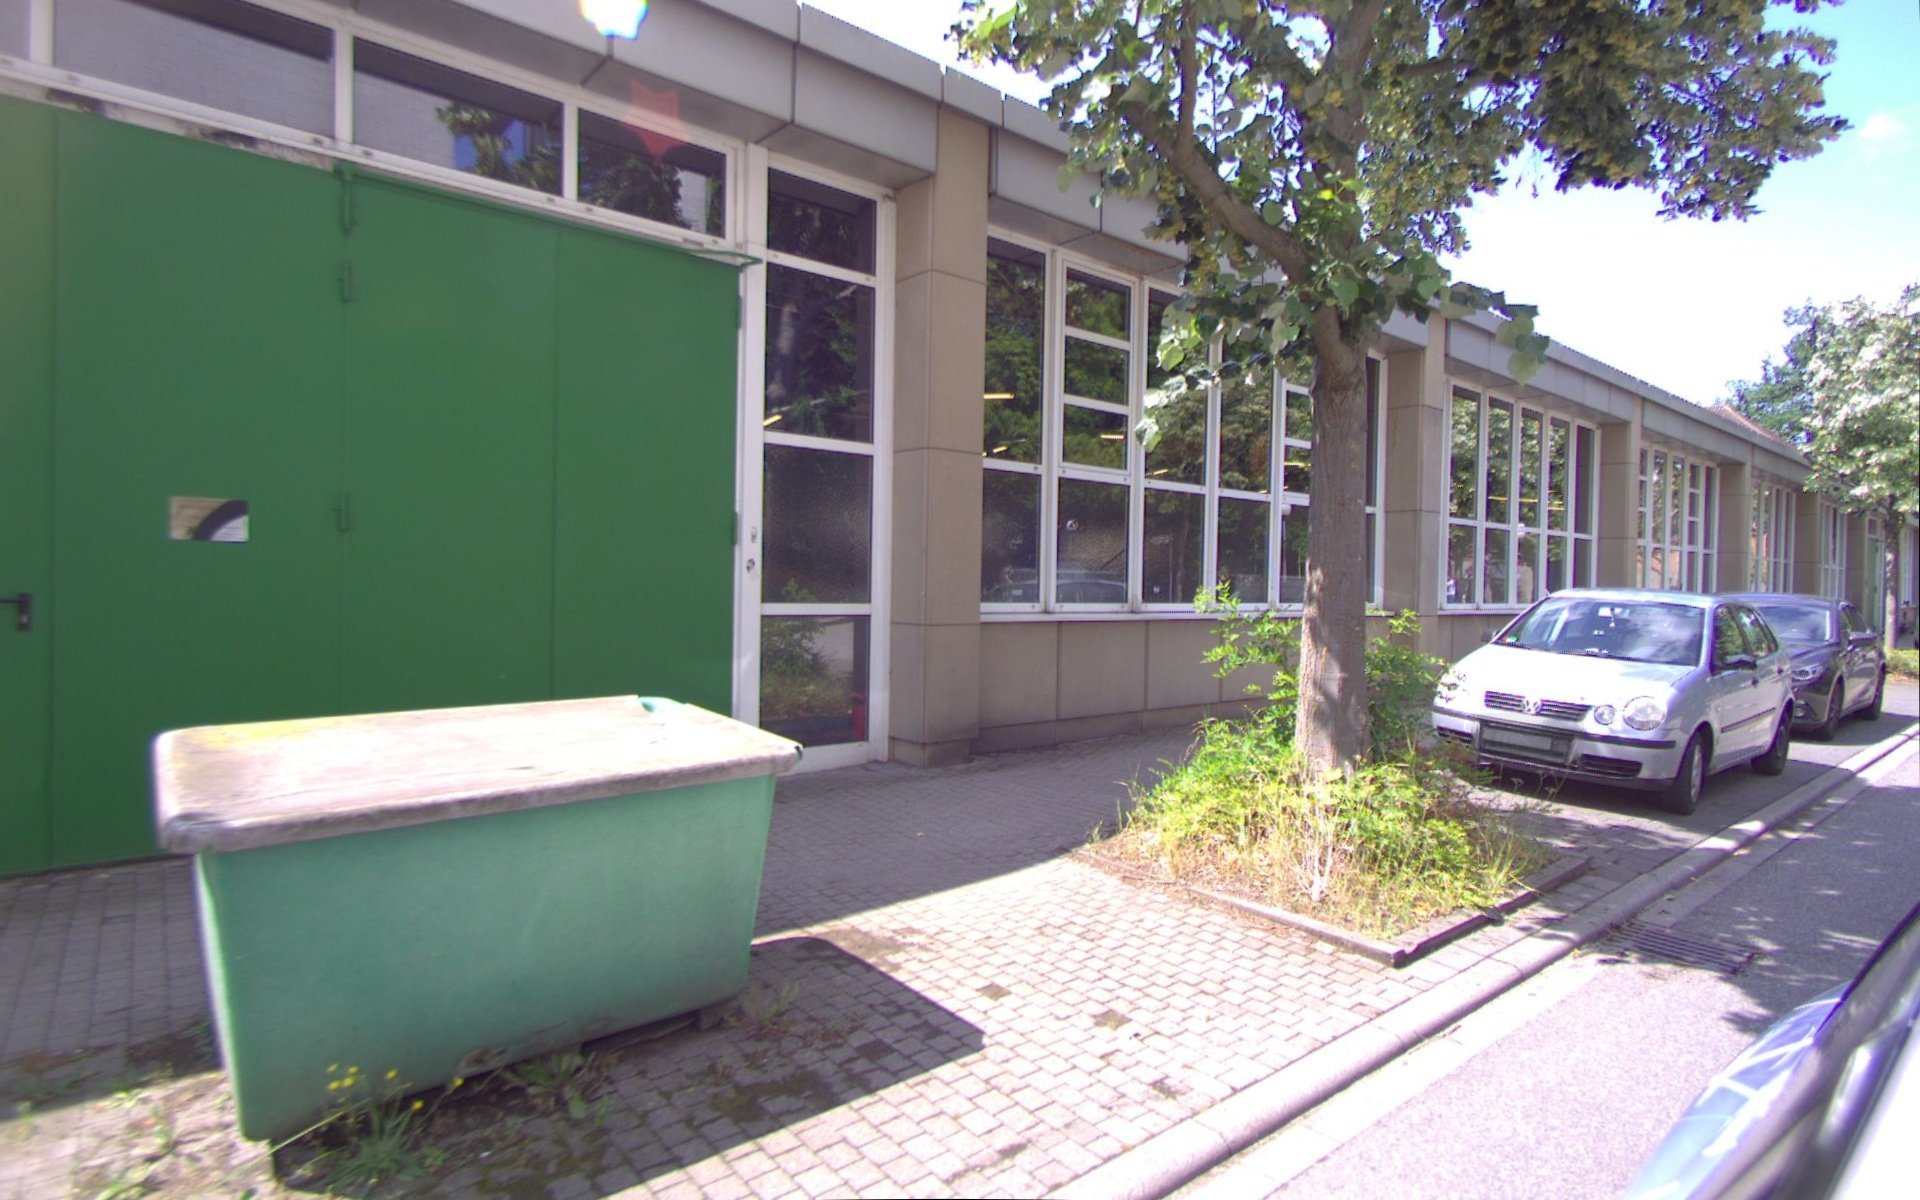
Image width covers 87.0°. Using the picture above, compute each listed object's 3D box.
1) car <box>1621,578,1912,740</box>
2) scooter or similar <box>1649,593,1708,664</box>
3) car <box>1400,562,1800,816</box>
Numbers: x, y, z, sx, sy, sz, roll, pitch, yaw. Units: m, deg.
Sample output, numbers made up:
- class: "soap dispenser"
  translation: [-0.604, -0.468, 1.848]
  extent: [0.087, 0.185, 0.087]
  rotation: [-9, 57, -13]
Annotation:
- class: "car"
  translation: [9.473, 0.536, 11.753]
  extent: [4.383, 1.495, 1.785]
  rotation: [0, 3, -40]
- class: "scooter or similar"
  translation: [13.410, 0.508, 18.872]
  extent: [1.459, 1.265, 0.512]
  rotation: [0, 2, -40]
- class: "car"
  translation: [5.177, 0.522, 8.011]
  extent: [3.712, 1.558, 1.620]
  rotation: [0, 1, -40]
